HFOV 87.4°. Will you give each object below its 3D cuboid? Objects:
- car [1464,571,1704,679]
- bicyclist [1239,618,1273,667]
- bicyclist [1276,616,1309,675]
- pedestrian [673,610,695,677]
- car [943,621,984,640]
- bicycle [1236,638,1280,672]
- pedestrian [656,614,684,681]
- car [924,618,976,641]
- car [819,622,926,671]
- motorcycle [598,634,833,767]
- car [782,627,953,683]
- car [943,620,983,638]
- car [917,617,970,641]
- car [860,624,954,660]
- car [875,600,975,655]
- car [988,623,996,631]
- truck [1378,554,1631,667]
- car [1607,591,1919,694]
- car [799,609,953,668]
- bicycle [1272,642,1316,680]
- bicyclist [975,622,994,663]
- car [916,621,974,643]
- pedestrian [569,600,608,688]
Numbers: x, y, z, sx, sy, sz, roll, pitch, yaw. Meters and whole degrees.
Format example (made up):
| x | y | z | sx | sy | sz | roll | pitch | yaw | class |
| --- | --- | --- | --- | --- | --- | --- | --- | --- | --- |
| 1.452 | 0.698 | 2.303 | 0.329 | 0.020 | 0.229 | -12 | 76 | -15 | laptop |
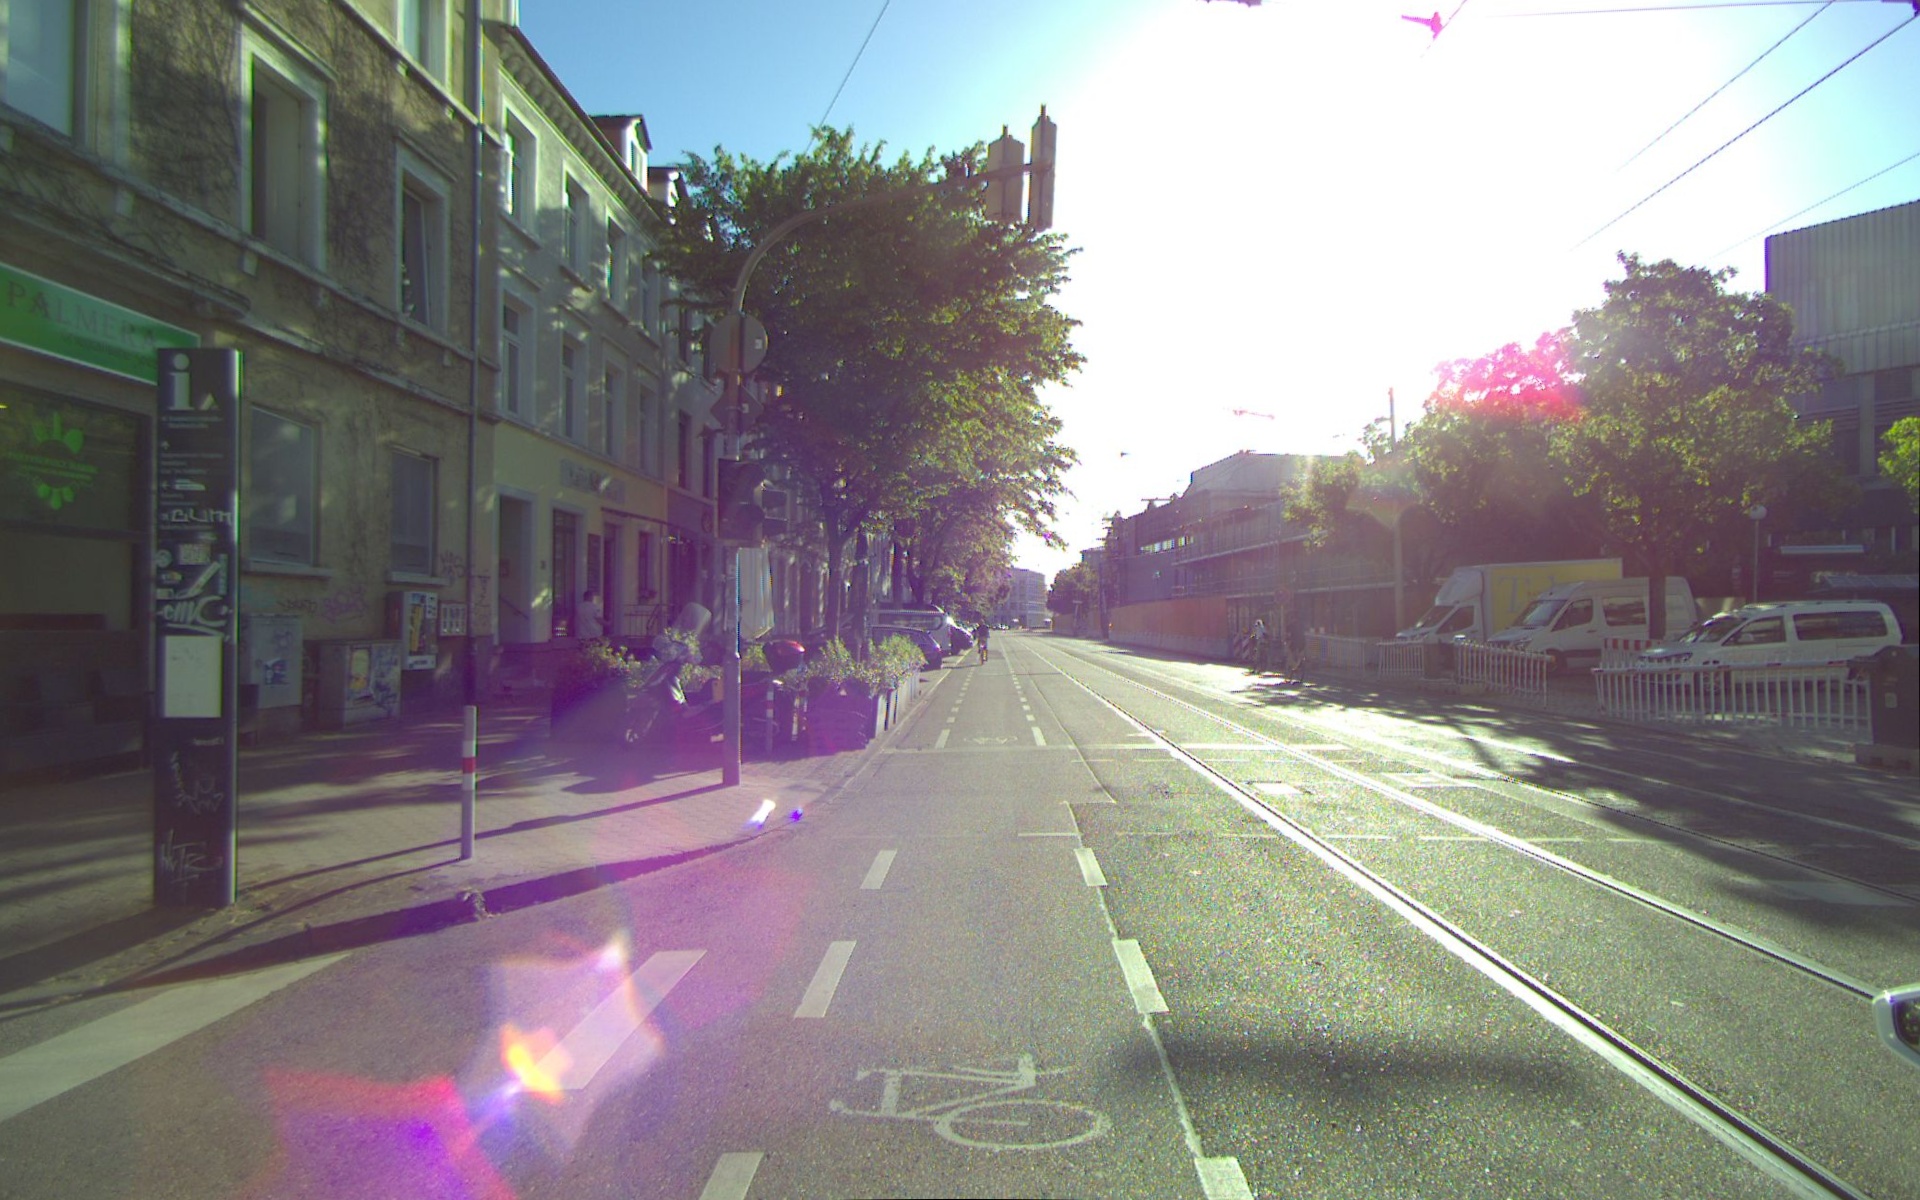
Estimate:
| x | y | z | sx | sy | sz | roll | pitch | yaw | class |
| --- | --- | --- | --- | --- | --- | --- | --- | --- | --- |
| 17.133 | 0.675 | 27.746 | 5.276 | 2.564 | 2.000 | -3 | -1 | -1 | car |
| 10.476 | 1.490 | 35.539 | 0.878 | 1.661 | 1.100 | 1 | -1 | 2 | bicyclist |
| 9.604 | 1.309 | 29.037 | 0.669 | 1.680 | 0.812 | 0 | -1 | 1 | bicyclist |
| -7.250 | 1.136 | 26.418 | 0.496 | 1.737 | 0.538 | -1 | -1 | -12 | pedestrian |
| 0.377 | 3.307 | 109.349 | 4.039 | 1.776 | 1.820 | 3 | -2 | -20 | car |
| 10.469 | 1.909 | 35.391 | 0.878 | 1.107 | 2.431 | 1 | -1 | 2 | bicycle |
| -7.348 | 1.197 | 25.488 | 0.529 | 1.665 | 0.570 | -1 | -1 | -1 | pedestrian |
| -0.877 | 2.495 | 86.230 | 4.039 | 1.776 | 1.820 | 3 | -2 | -20 | car |
| -2.961 | 1.537 | 34.016 | 3.277 | 1.523 | 1.679 | 0 | 1 | -22 | car |
| -2.770 | 1.117 | 11.453 | 2.392 | 1.368 | 0.993 | 3 | -3 | -29 | motorcycle |
| -2.635 | 1.538 | 28.633 | 4.575 | 1.510 | 1.680 | 1 | -2 | -21 | car |
| 0.349 | 3.225 | 112.700 | 4.039 | 1.776 | 1.820 | 3 | -2 | -20 | car |
| -1.389 | 2.424 | 83.803 | 4.039 | 1.776 | 1.820 | 3 | -2 | -20 | car |
| -2.491 | 1.960 | 46.907 | 4.032 | 1.438 | 1.823 | 3 | -2 | -15 | car |
| -1.828 | 1.441 | 53.166 | 5.096 | 2.611 | 2.246 | 3 | -2 | -2 | car |
| 7.900 | 6.615 | 247.536 | 1.653 | 1.861 | 3.872 | 3 | -2 | -2 | car |
| 17.955 | 0.370 | 33.438 | 6.978 | 3.392 | 2.391 | -2 | -1 | 2 | truck |
| 17.084 | 0.897 | 21.614 | 4.847 | 1.917 | 2.012 | -3 | -1 | 7 | car |
| -3.077 | 1.359 | 36.763 | 5.270 | 2.018 | 2.028 | 0 | -1 | -22 | car |
| 9.615 | 1.751 | 28.988 | 0.669 | 1.032 | 1.922 | 0 | -1 | 1 | bicycle |
| 0.966 | 1.673 | 39.734 | 0.712 | 1.593 | 1.029 | 0 | -1 | 1 | bicyclist |
| -1.141 | 2.458 | 76.556 | 4.036 | 1.472 | 1.821 | 3 | -2 | -18 | car |
| -7.190 | 0.841 | 19.459 | 0.529 | 1.665 | 0.570 | -1 | -1 | -1 | pedestrian |
